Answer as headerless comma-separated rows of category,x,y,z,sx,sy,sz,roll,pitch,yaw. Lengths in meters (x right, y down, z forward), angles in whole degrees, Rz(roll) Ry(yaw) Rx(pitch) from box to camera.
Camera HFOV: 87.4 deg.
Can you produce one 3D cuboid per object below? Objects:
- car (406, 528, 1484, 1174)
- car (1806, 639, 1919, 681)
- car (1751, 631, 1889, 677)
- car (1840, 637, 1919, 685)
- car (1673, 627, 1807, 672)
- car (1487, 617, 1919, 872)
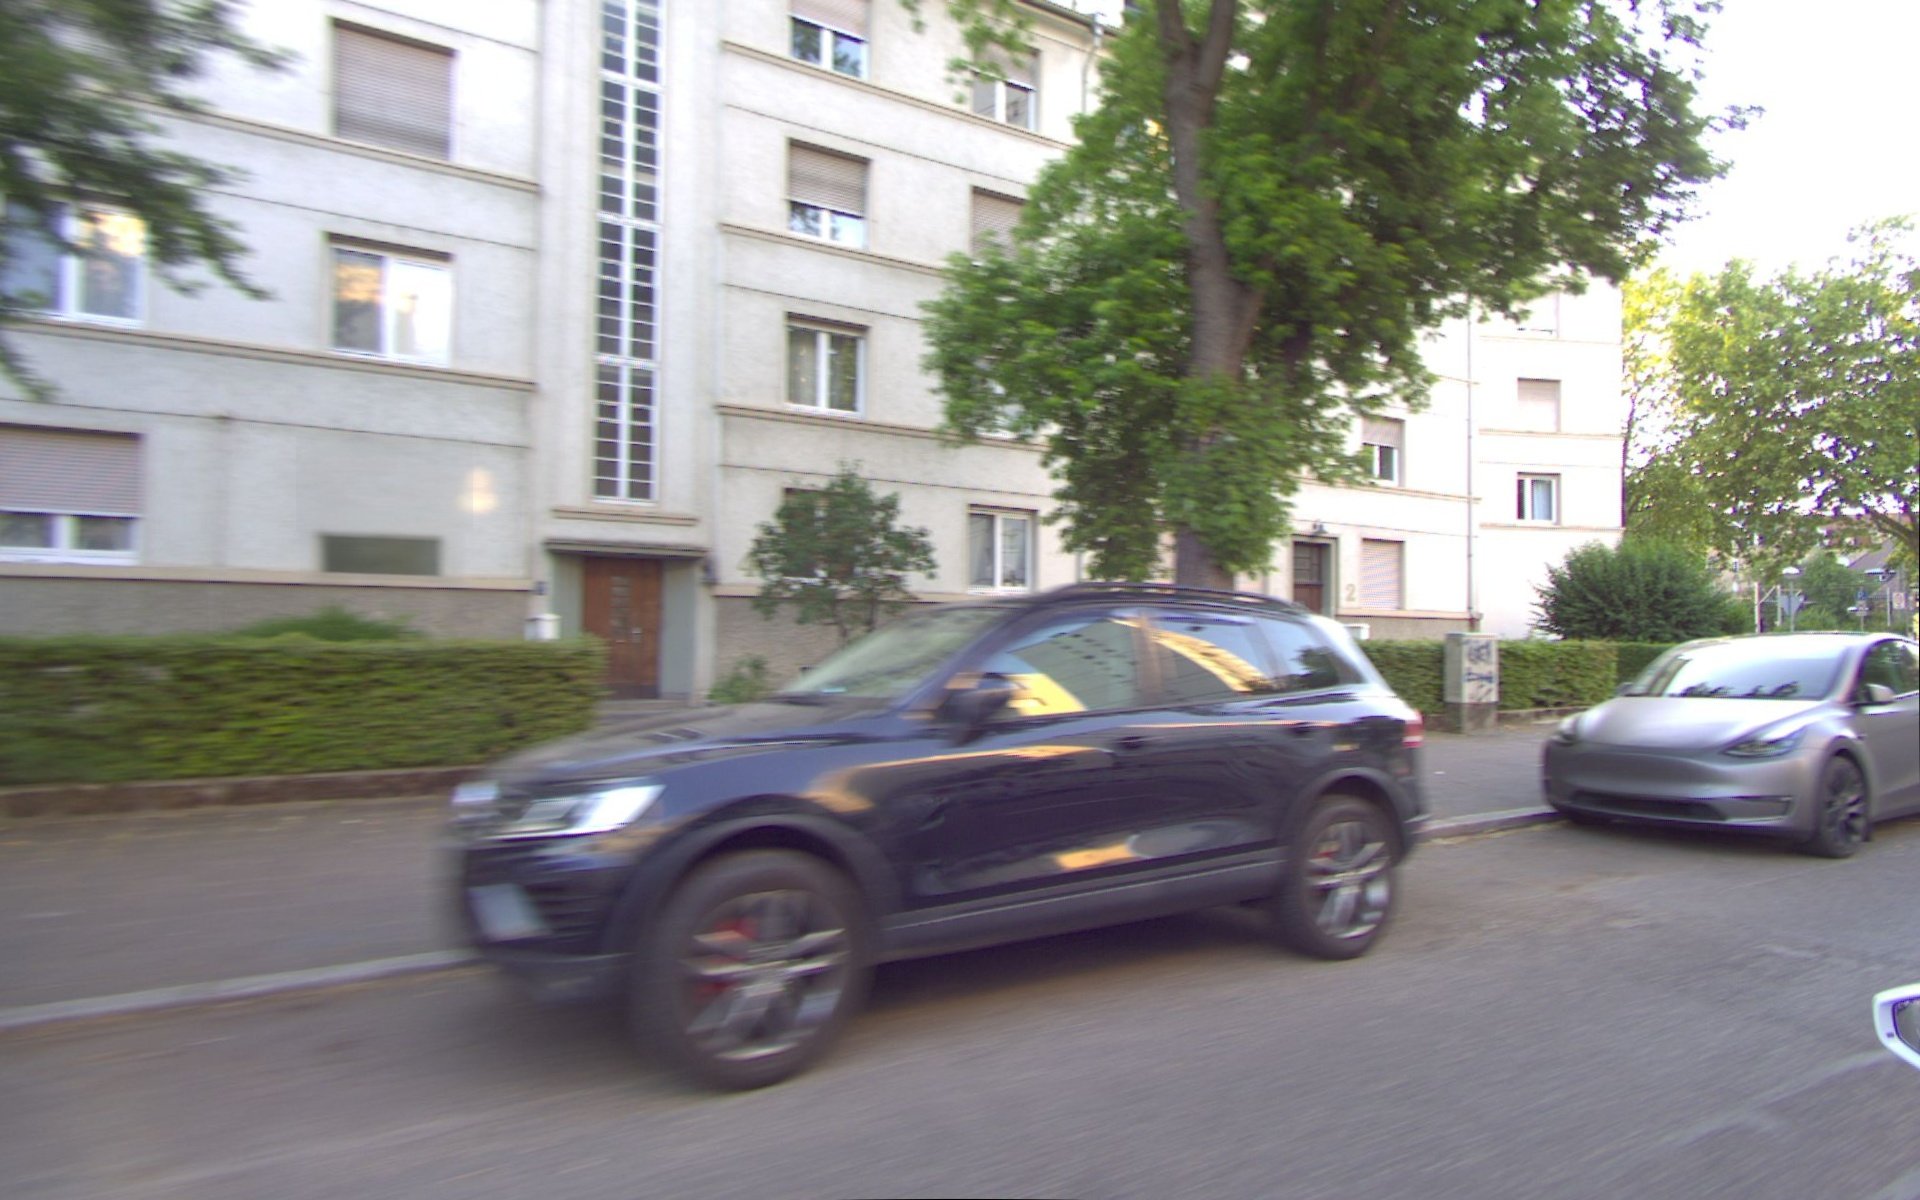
car,0.098,0.791,4.756,4.713,1.741,1.946,2,-4,-29
car,34.987,2.269,38.355,4.554,1.501,1.819,0,-2,-15
car,35.535,2.216,41.557,4.547,1.824,1.822,0,-2,-9
car,32.089,2.028,33.531,1.987,1.539,3.948,2,-2,-44
car,33.929,2.147,43.756,4.547,1.865,2.082,0,-2,-9
car,6.768,1.047,8.450,4.549,1.637,1.946,2,-4,-29
